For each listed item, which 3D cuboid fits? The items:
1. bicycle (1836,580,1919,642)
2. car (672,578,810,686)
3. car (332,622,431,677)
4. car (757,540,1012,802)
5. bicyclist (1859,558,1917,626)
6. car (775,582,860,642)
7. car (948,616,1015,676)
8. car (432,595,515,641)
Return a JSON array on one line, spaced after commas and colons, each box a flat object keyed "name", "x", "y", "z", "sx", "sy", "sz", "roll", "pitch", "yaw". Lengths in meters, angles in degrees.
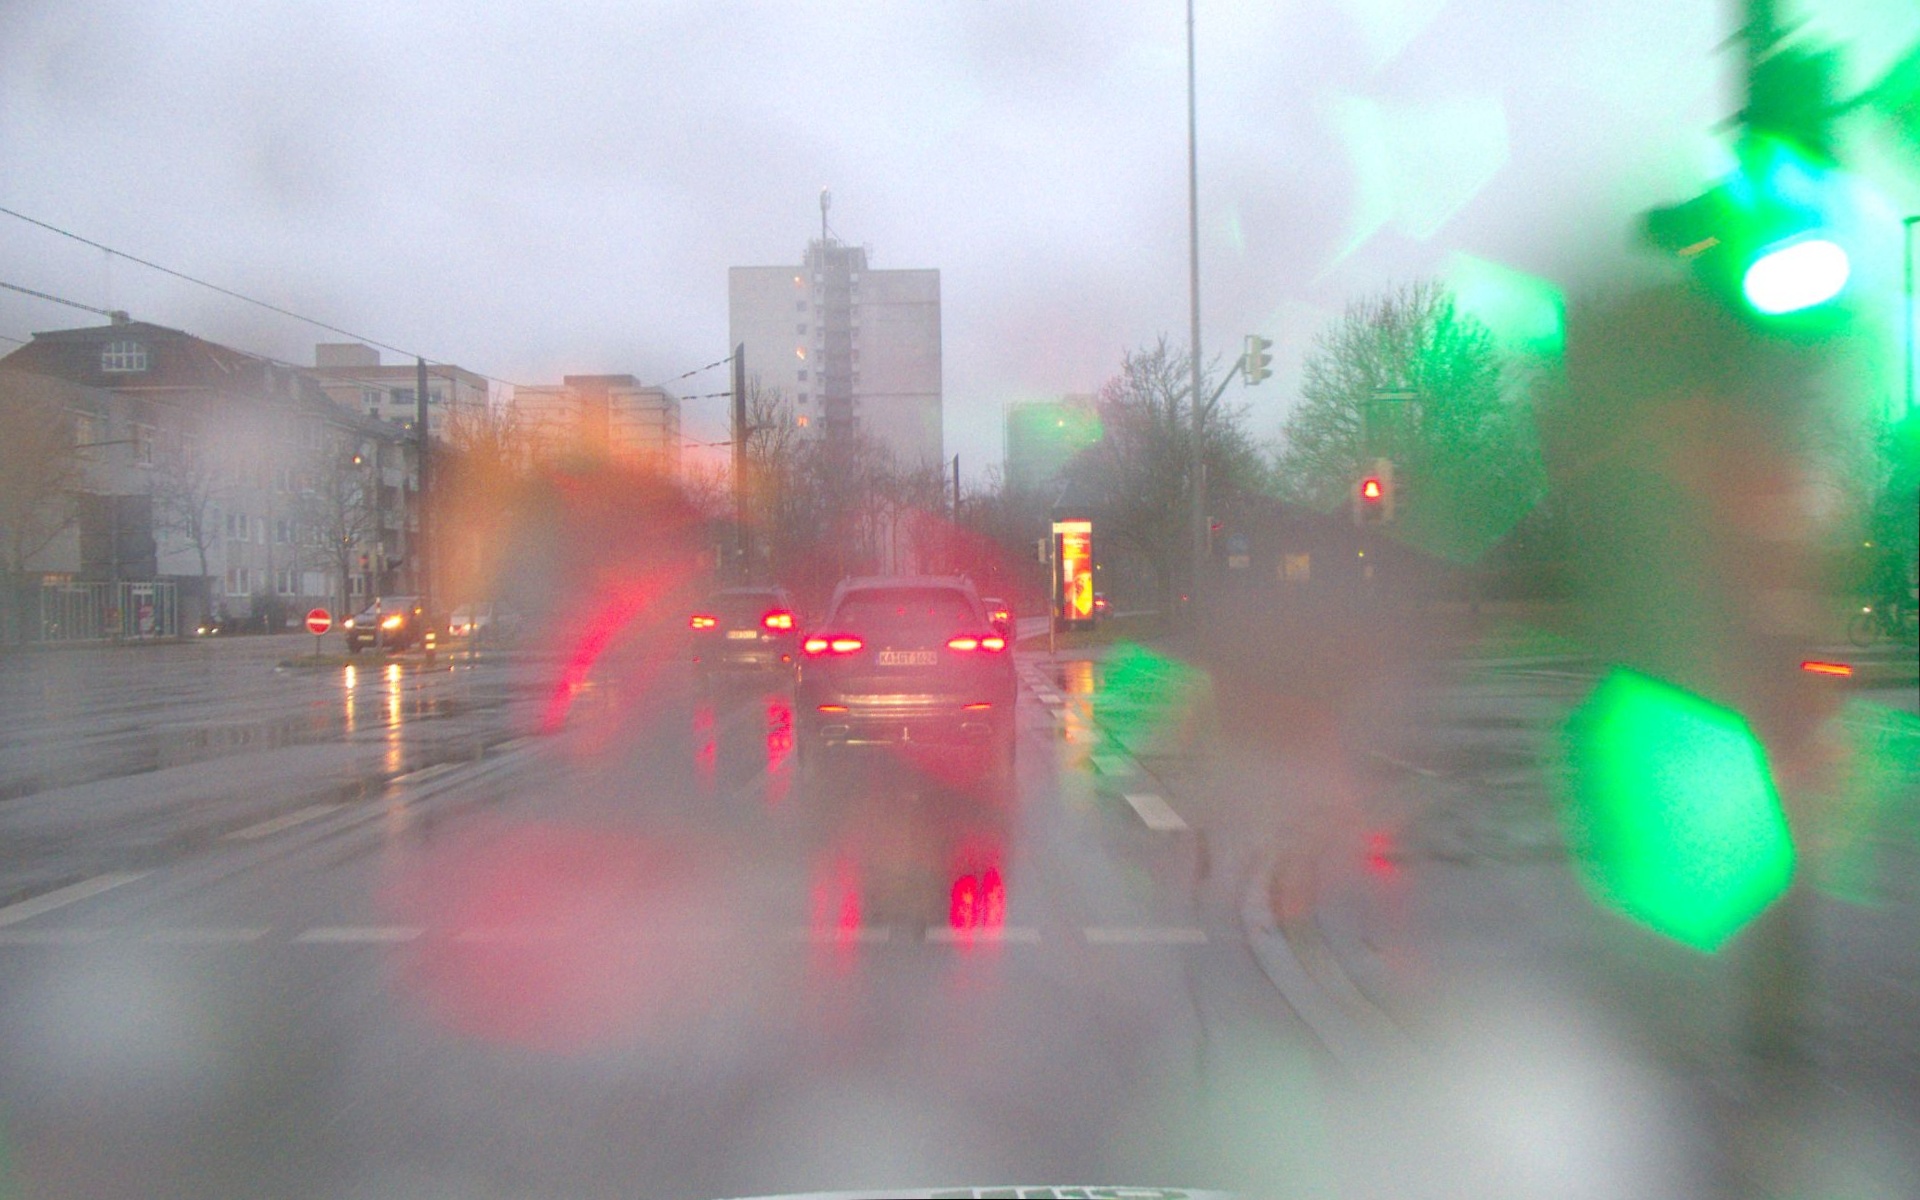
[{"name": "bicycle", "x": 20.322, "y": 0.229, "z": 36.045, "sx": 1.924, "sy": 1.237, "sz": 1.039, "roll": -2, "pitch": 1, "yaw": -5}, {"name": "car", "x": -3.744, "y": 0.560, "z": 29.027, "sx": 1.953, "sy": 1.742, "sz": 4.323, "roll": 0, "pitch": -1, "yaw": -2}, {"name": "car", "x": -17.965, "y": 1.503, "z": 51.519, "sx": 1.768, "sy": 1.635, "sz": 3.998, "roll": 0, "pitch": -1, "yaw": -2}, {"name": "car", "x": -0.550, "y": 0.579, "z": 14.769, "sx": 1.952, "sy": 2.010, "sz": 4.068, "roll": 0, "pitch": -1, "yaw": 1}, {"name": "bicyclist", "x": 20.186, "y": -0.170, "z": 35.985, "sx": 0.735, "sy": 1.455, "sz": 0.927, "roll": 0, "pitch": -1, "yaw": 2}, {"name": "car", "x": -4.102, "y": 0.379, "z": 48.310, "sx": 1.952, "sy": 1.671, "sz": 4.023, "roll": 0, "pitch": -1, "yaw": 3}, {"name": "car", "x": 0.765, "y": 1.528, "z": 55.925, "sx": 1.817, "sy": 1.925, "sz": 4.003, "roll": 0, "pitch": -1, "yaw": 7}, {"name": "car", "x": -16.987, "y": 0.651, "z": 57.953, "sx": 1.555, "sy": 1.556, "sz": 4.932, "roll": 0, "pitch": -1, "yaw": -2}]
